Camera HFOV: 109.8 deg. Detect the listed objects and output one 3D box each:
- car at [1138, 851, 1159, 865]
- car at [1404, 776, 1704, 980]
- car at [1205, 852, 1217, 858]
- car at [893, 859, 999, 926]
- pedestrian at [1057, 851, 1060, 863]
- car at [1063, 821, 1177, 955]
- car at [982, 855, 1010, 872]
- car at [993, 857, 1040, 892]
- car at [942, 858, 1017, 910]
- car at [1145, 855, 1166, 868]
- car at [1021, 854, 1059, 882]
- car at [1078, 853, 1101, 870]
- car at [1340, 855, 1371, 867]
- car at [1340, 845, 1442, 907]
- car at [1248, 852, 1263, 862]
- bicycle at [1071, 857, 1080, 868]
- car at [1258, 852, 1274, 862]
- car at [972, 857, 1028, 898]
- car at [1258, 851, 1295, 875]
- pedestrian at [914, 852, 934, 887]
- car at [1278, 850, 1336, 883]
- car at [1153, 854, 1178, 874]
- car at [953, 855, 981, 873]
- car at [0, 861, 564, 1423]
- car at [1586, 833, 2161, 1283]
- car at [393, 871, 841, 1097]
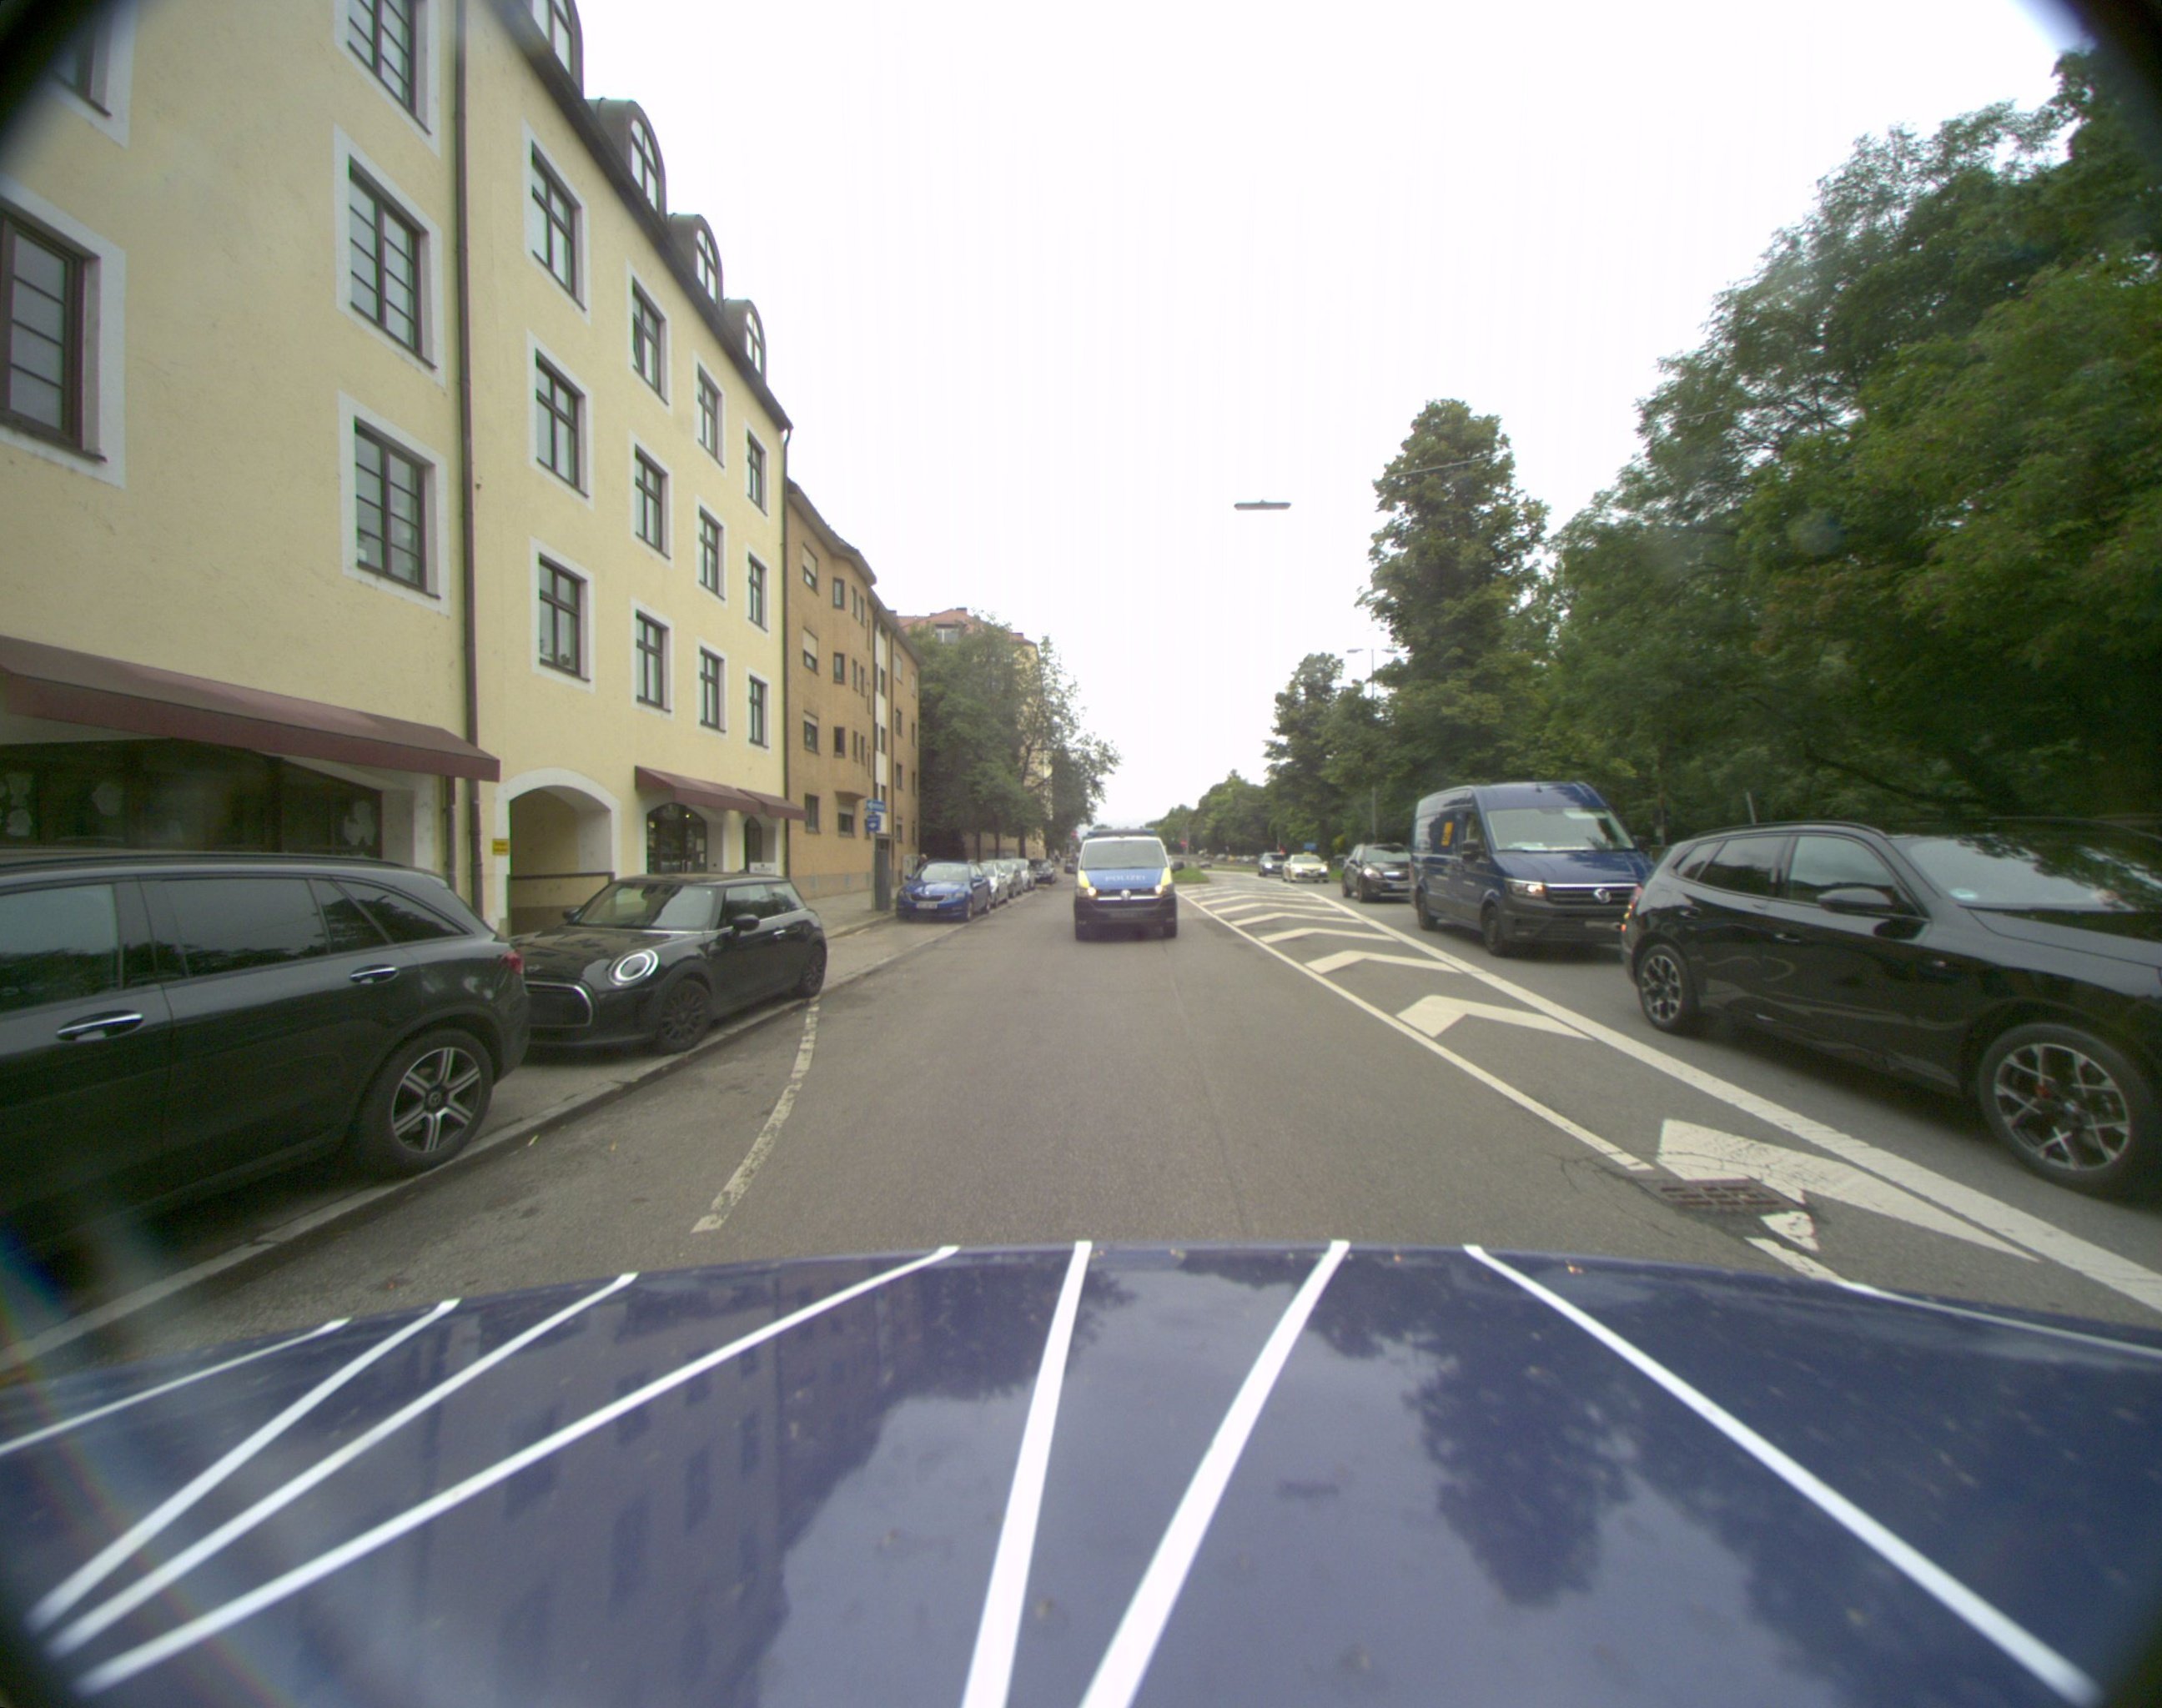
[{"bbox_3d":[8.767,0.523,99.309,2.075,1.692,5.089,-1,0,-2],"label":"car"},{"bbox_3d":[6.955,0.246,12.166,2.187,2.450,5.856,0,1,12],"label":"car"},{"bbox_3d":[29.256,0.266,171.185,1.897,1.438,4.032,0,0,-4],"label":"car"},{"bbox_3d":[-3.357,0.905,19.745,1.760,1.487,4.488,1,0,2],"label":"car"},{"bbox_3d":[-3.932,0.539,132.837,0.458,2.002,0.617,0,0,-17],"label":"pedestrian"},{"bbox_3d":[0.745,0.529,14.793,1.856,2.198,4.553,-1,1,3],"label":"car"},{"bbox_3d":[-7.424,0.823,66.601,2.054,1.458,4.244,0,0,-2],"label":"car"},{"bbox_3d":[-2.888,0.891,34.584,1.631,1.487,3.821,1,0,2],"label":"car"},{"bbox_3d":[-3.214,0.909,24.925,1.694,1.487,4.434,1,0,2],"label":"car"},{"bbox_3d":[8.790,0.831,89.888,1.992,1.447,4.281,0,0,-2],"label":"car"},{"bbox_3d":[-2.295,0.764,43.755,1.796,1.488,4.376,2,0,2],"label":"car"},{"bbox_3d":[0.872,0.734,76.151,2.129,1.556,4.508,-1,0,2],"label":"car"},{"bbox_3d":[33.031,0.848,91.564,1.999,1.438,4.524,1,0,-3],"label":"car"},{"bbox_3d":[8.830,0.567,21.985,1.990,1.618,4.277,0,0,12],"label":"car"},{"bbox_3d":[32.518,0.539,141.560,1.866,1.736,4.000,-1,0,1],"label":"car"},{"bbox_3d":[-0.549,0.855,73.638,0.632,1.031,1.736,0,0,7],"label":"bicycle"},{"bbox_3d":[32.425,0.545,132.984,1.885,1.736,4.000,-1,0,1],"label":"car"},{"bbox_3d":[-3.120,0.880,29.974,1.631,1.487,3.787,1,0,2],"label":"car"},{"bbox_3d":[13.417,0.613,52.316,1.991,1.556,4.276,0,0,8],"label":"car"},{"bbox_3d":[-7.336,0.714,35.457,0.672,1.614,0.980,-1,1,3],"label":"pedestrian"},{"bbox_3d":[11.439,0.594,38.818,1.991,1.556,4.656,0,0,6],"label":"car"},{"bbox_3d":[6.985,0.833,62.827,1.902,1.556,4.773,0,0,6],"label":"car"},{"bbox_3d":[-9.908,0.850,66.191,1.917,1.458,4.244,0,0,-2],"label":"car"},{"bbox_3d":[-4.172,0.893,2.376,1.761,1.669,4.707,1,0,2],"label":"car"},{"bbox_3d":[5.203,0.719,4.426,1.916,1.577,4.833,-3,1,9],"label":"car"},{"bbox_3d":[-3.953,0.965,7.355,1.760,1.487,3.824,1,0,5],"label":"car"}]
